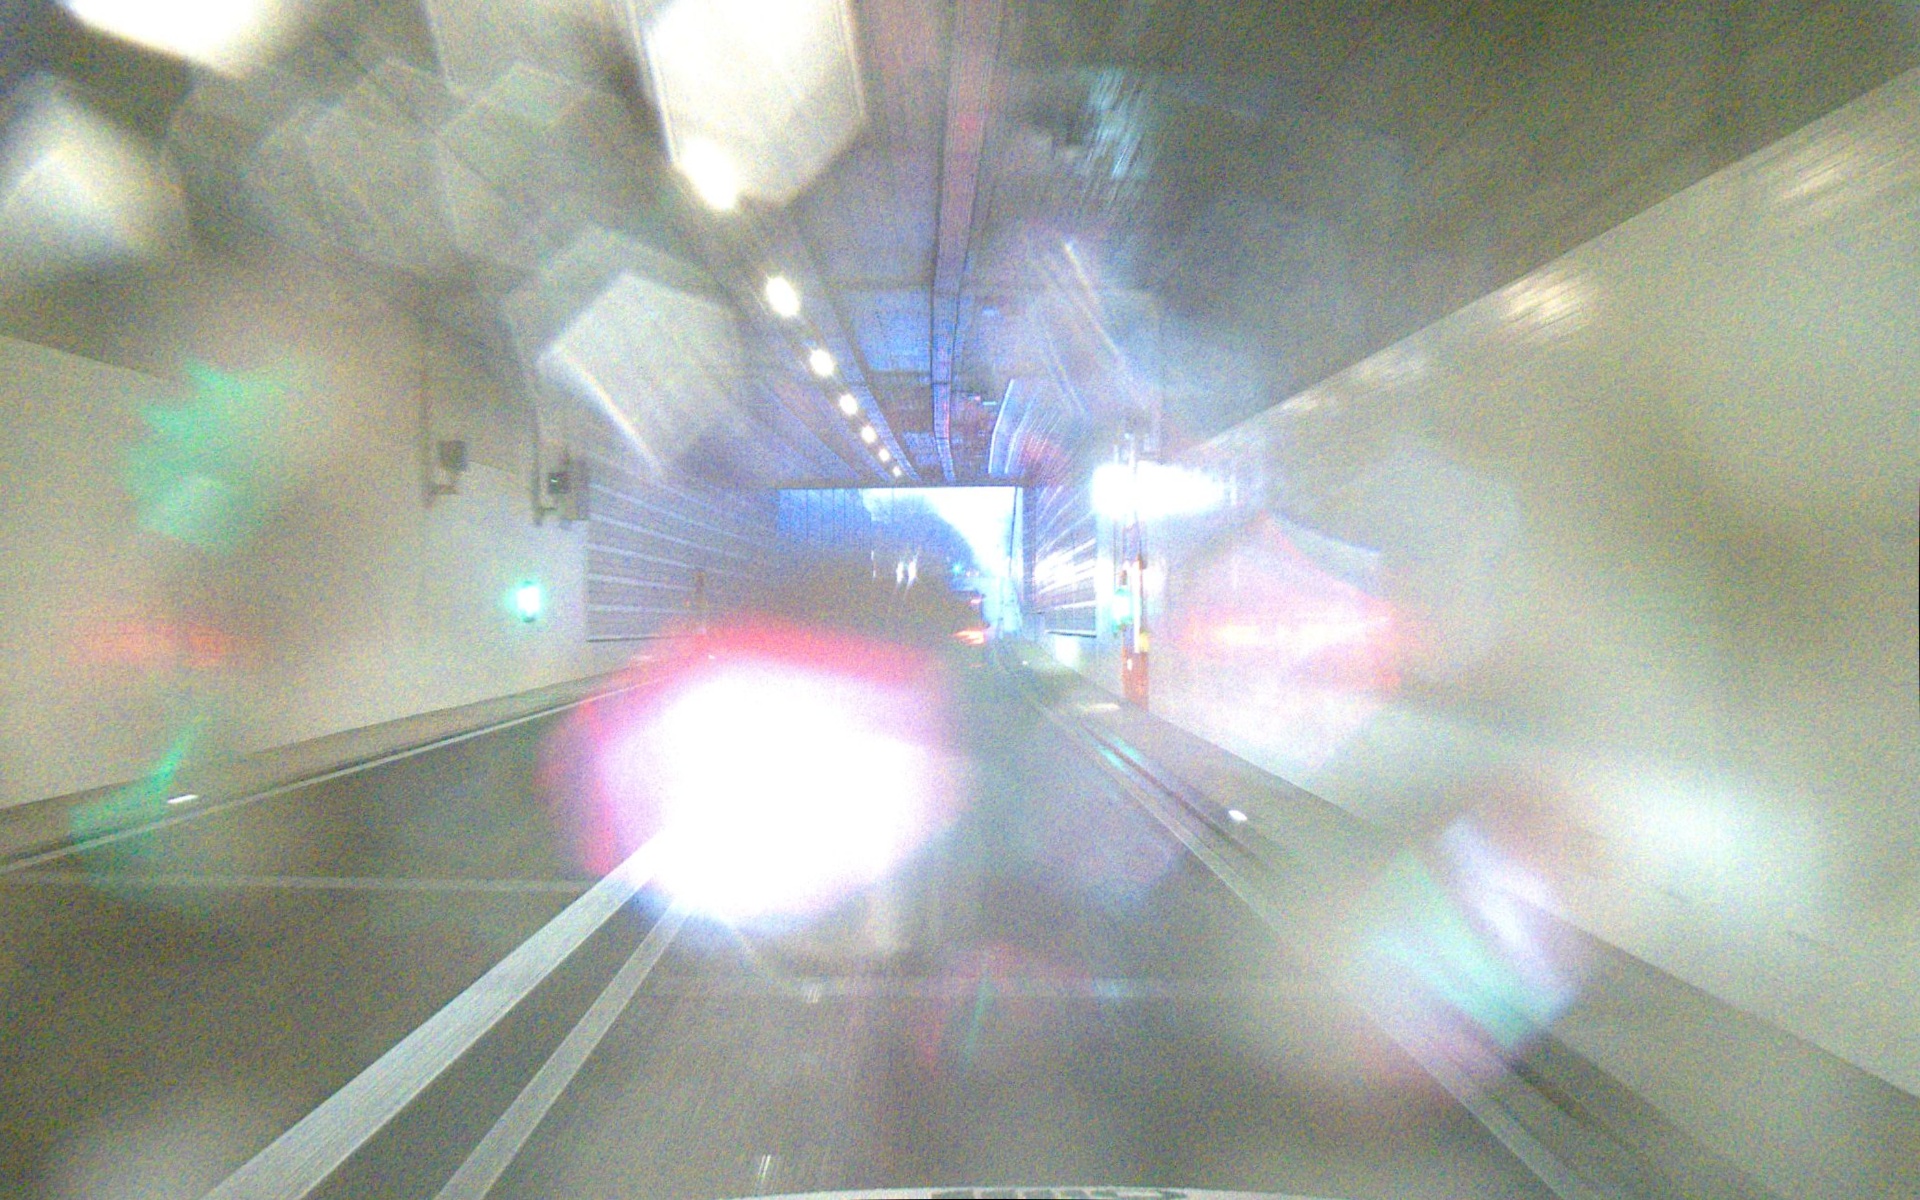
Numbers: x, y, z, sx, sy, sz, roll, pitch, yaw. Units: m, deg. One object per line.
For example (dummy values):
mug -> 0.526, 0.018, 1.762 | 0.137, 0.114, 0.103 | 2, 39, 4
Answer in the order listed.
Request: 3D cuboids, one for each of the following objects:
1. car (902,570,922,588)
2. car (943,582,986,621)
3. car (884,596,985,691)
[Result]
car -> -4.957, -2.131, 170.618 | 1.841, 1.649, 4.000 | 1, -1, 2
car -> 0.165, 0.084, 74.369 | 1.842, 1.649, 3.999 | 1, -1, -1
car -> -0.424, 0.672, 26.743 | 1.501, 1.422, 3.433 | 1, 0, -1
